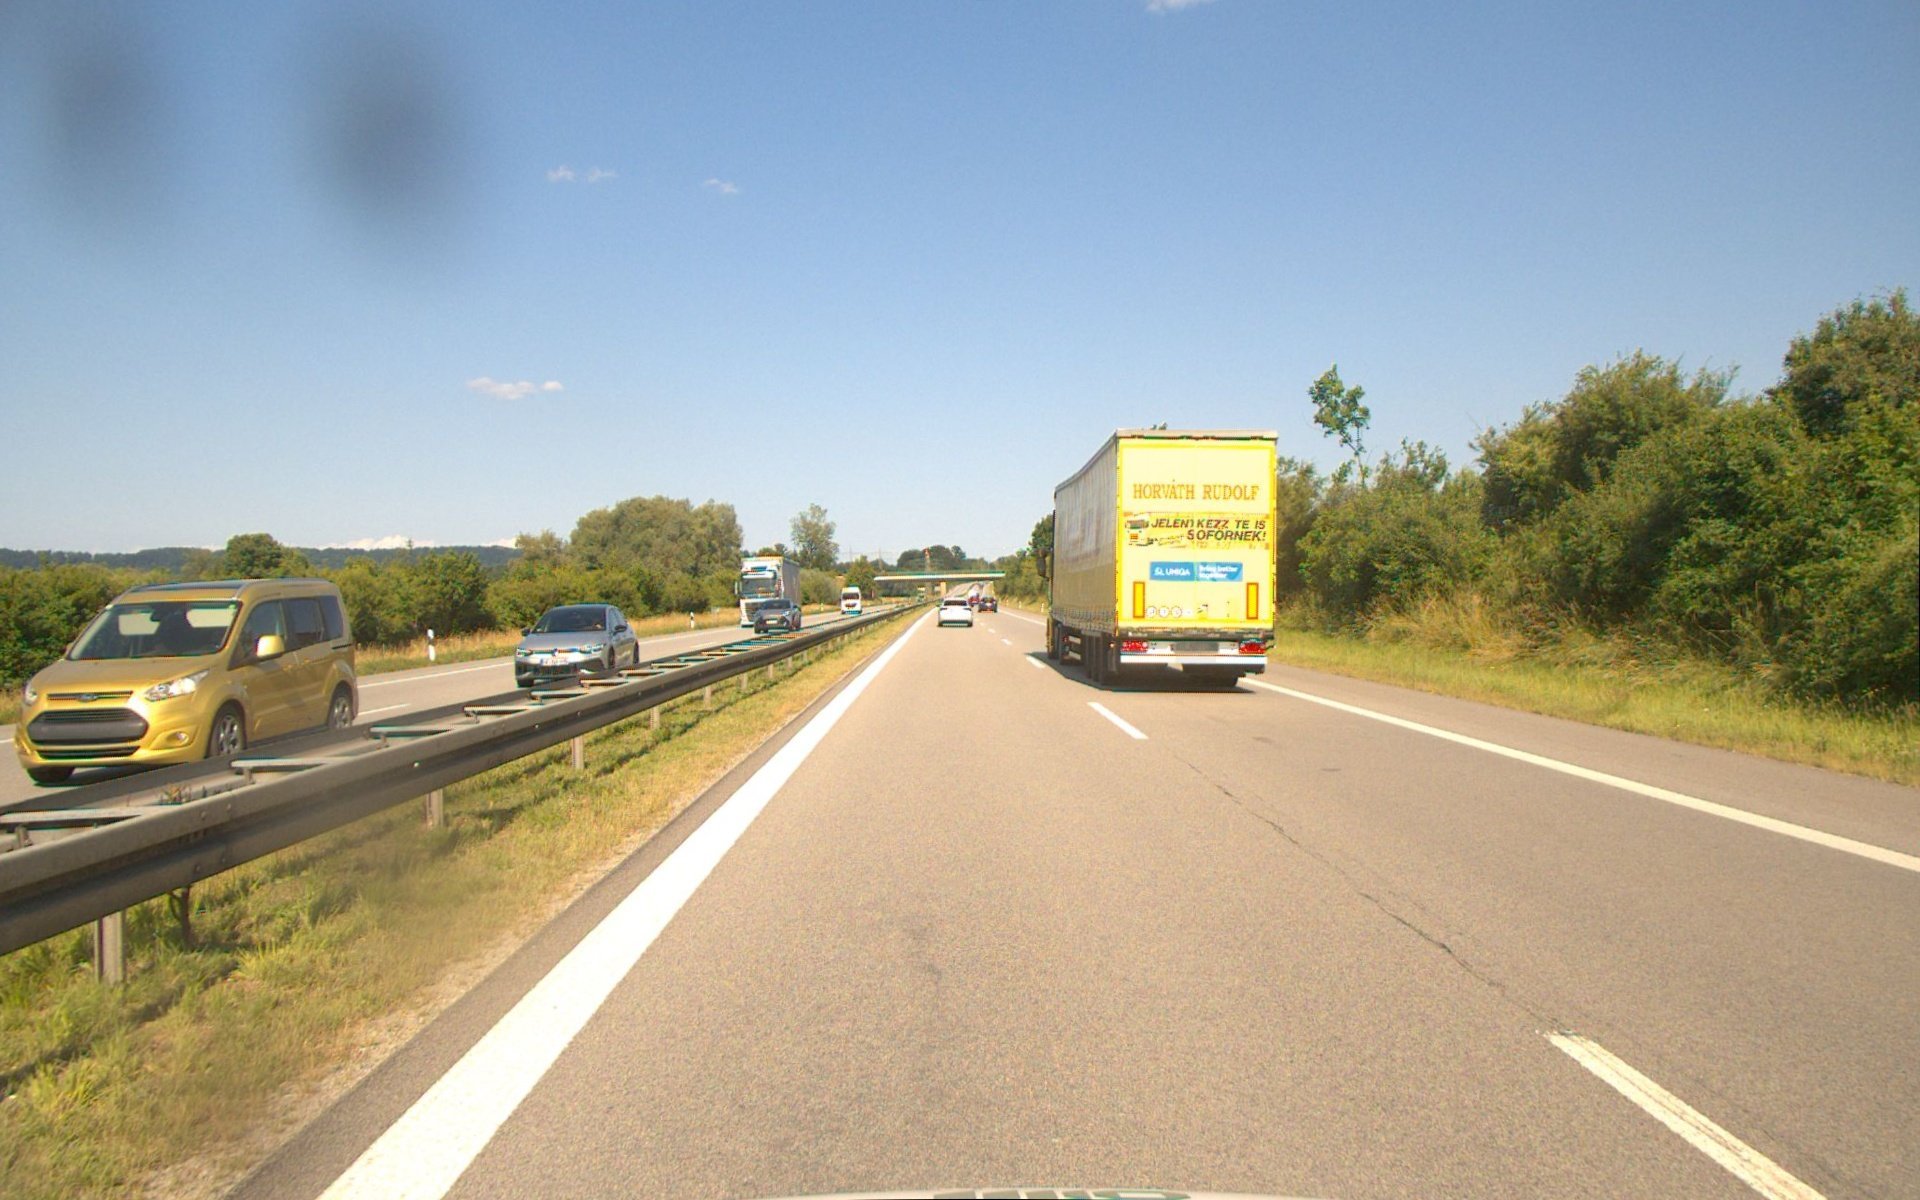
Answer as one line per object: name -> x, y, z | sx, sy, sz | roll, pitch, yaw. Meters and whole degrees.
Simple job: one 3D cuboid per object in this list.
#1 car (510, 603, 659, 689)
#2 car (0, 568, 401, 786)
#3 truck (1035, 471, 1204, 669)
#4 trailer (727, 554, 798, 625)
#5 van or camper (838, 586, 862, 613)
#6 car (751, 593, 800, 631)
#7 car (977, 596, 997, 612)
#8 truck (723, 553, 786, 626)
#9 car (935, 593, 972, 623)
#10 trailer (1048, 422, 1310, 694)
car -> -7.230, 0.837, 32.281 | 1.731, 1.444, 4.470 | -4, 0, 1
car -> -7.510, 0.676, 16.797 | 1.910, 1.802, 4.749 | -3, 0, 1
truck -> 3.572, -0.642, 38.697 | 3.105, 4.186, 6.386 | 1, 0, -2
trailer -> -12.711, -0.625, 107.826 | 3.121, 4.130, 14.592 | -3, 0, -2
van or camper -> -10.903, -0.087, 164.176 | 1.953, 2.540, 7.227 | -2, 0, -1
car -> -8.610, 0.557, 77.480 | 1.690, 1.610, 4.767 | -4, 0, 0
car -> 2.588, 0.407, 159.903 | 1.805, 1.546, 4.000 | 1, 0, 0
truck -> -12.521, -0.624, 101.290 | 3.105, 4.185, 6.386 | -3, 0, -2
car -> -0.304, 0.407, 83.786 | 1.805, 1.440, 4.000 | 1, 0, 0
trailer -> 3.722, -0.643, 32.011 | 3.120, 4.130, 13.184 | 1, 0, -1
